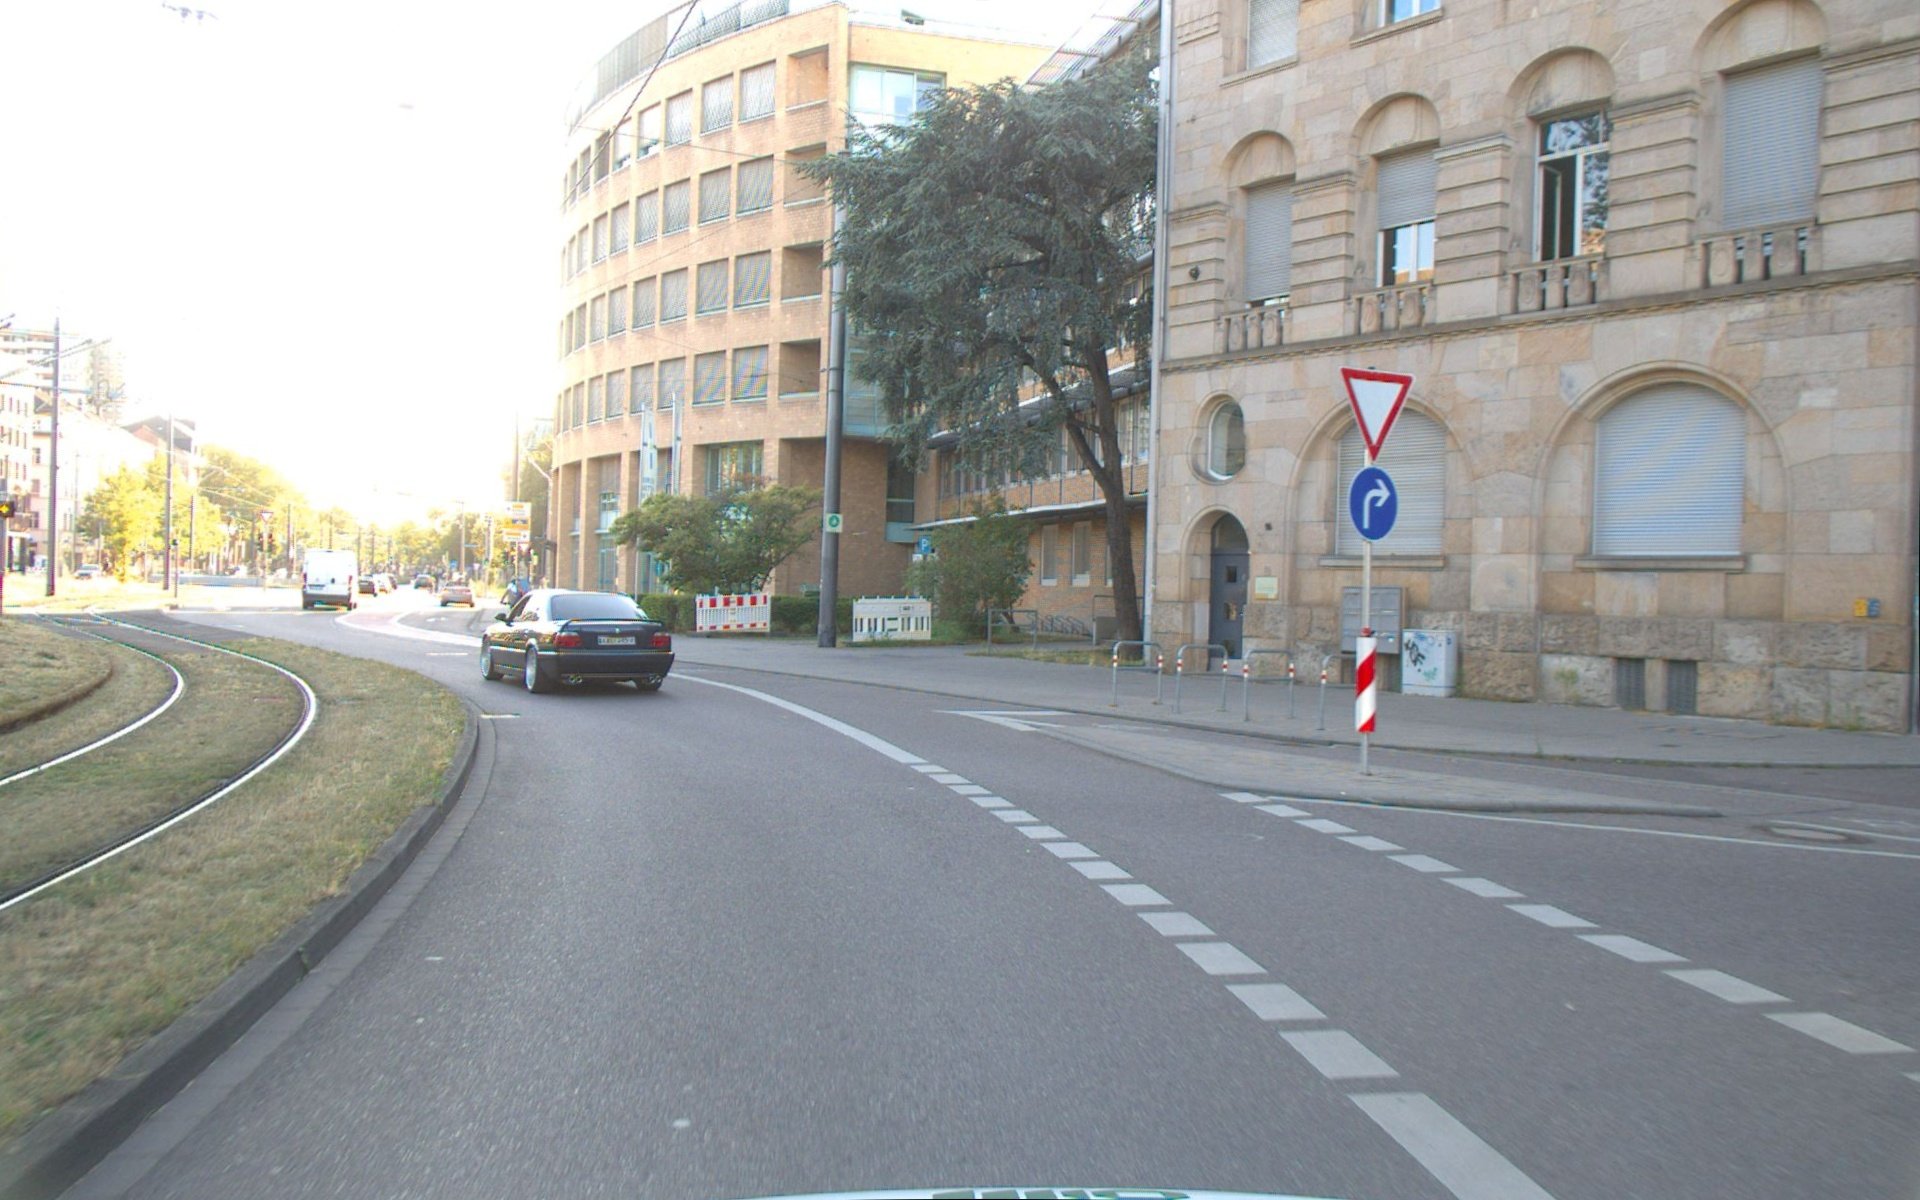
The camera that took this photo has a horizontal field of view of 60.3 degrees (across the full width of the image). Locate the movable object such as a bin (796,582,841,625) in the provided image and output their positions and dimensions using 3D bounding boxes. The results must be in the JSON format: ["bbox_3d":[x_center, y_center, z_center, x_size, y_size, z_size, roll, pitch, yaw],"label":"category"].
[{"bbox_3d":[-5.009,0.125,58.463,1.322,1.449,0.918,1,1,-23],"label":"movable object such as a bin"}]

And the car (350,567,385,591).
[{"bbox_3d":[-37.867,-1.324,105.813,1.708,1.410,3.985,1,2,-15],"label":"car"}]

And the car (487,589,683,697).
[{"bbox_3d":[-5.538,0.543,23.995,1.807,1.378,4.603,-1,1,-26],"label":"car"}]

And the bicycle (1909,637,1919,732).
[{"bbox_3d":[11.944,0.996,19.723,1.837,1.091,0.423,0,2,-39],"label":"bicycle"}]

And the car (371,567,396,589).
[{"bbox_3d":[-45.608,-1.772,130.847,1.767,1.593,3.978,1,2,-19],"label":"car"}]

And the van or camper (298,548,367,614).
[{"bbox_3d":[-26.796,-0.839,70.717,2.225,2.670,4.486,1,1,-15],"label":"van or camper"}]

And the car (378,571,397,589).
[{"bbox_3d":[-56.569,-1.966,163.489,1.767,1.593,3.978,1,2,-19],"label":"car"}]

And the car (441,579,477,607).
[{"bbox_3d":[-27.564,-0.388,91.072,1.755,1.377,4.248,3,1,-16],"label":"car"}]

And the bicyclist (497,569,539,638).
[{"bbox_3d":[-9.996,0.076,37.362,0.647,1.509,1.029,4,-1,-26],"label":"bicyclist"}]

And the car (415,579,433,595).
[{"bbox_3d":[-58.574,-1.450,180.657,1.767,1.593,3.978,1,2,-19],"label":"car"}]

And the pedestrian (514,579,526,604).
[{"bbox_3d":[-28.657,-0.579,107.678,0.666,1.597,0.796,1,1,-18],"label":"pedestrian"}]

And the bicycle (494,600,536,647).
[{"bbox_3d":[-10.111,0.522,37.561,0.509,0.971,1.760,3,0,-27],"label":"bicycle"}]

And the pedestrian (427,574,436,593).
[{"bbox_3d":[-43.561,-1.353,136.313,0.605,1.501,0.798,1,1,-11],"label":"pedestrian"}]

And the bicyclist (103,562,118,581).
[{"bbox_3d":[-68.443,-2.321,133.219,0.652,1.467,0.850,4,1,44],"label":"bicyclist"}]

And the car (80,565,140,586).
[{"bbox_3d":[-69.326,-1.998,134.896,3.970,1.459,1.691,2,1,-45],"label":"car"}]

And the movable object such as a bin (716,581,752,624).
[{"bbox_3d":[-7.922,0.079,58.042,0.950,1.462,1.346,2,1,3],"label":"movable object such as a bin"}]
